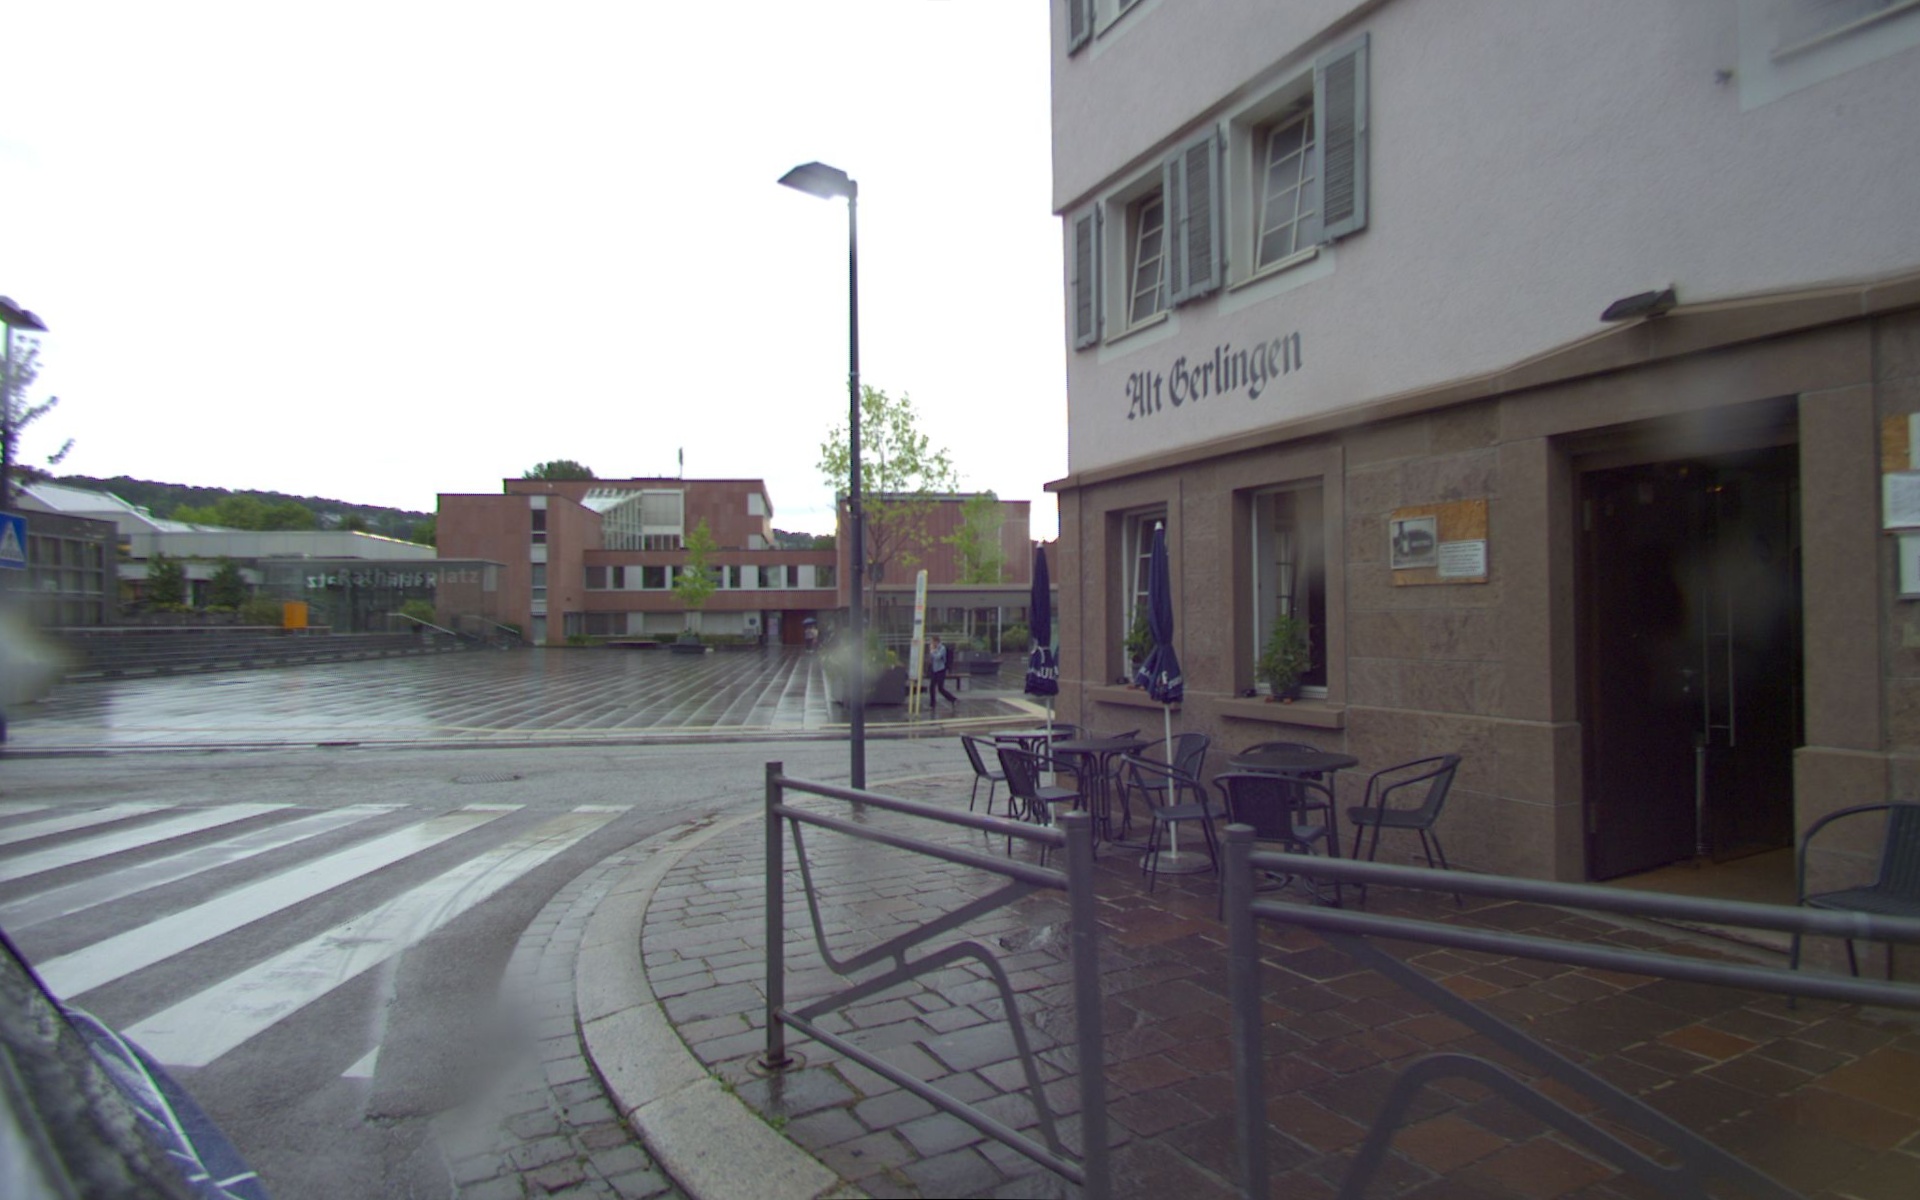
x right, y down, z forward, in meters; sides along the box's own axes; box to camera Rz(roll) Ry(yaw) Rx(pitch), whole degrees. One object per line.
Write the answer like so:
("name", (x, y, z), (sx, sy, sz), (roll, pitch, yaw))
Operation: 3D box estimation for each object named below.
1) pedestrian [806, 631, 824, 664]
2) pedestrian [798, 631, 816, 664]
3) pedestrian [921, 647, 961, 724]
("pedestrian", (-9.040, 2.958, 63.034), (0.728, 2.029, 0.855), (-1, -2, 26))
("pedestrian", (-9.428, 2.923, 62.223), (0.728, 2.029, 0.855), (-1, -2, 26))
("pedestrian", (-0.424, 1.860, 22.202), (0.682, 1.629, 0.732), (1, -1, -18))
